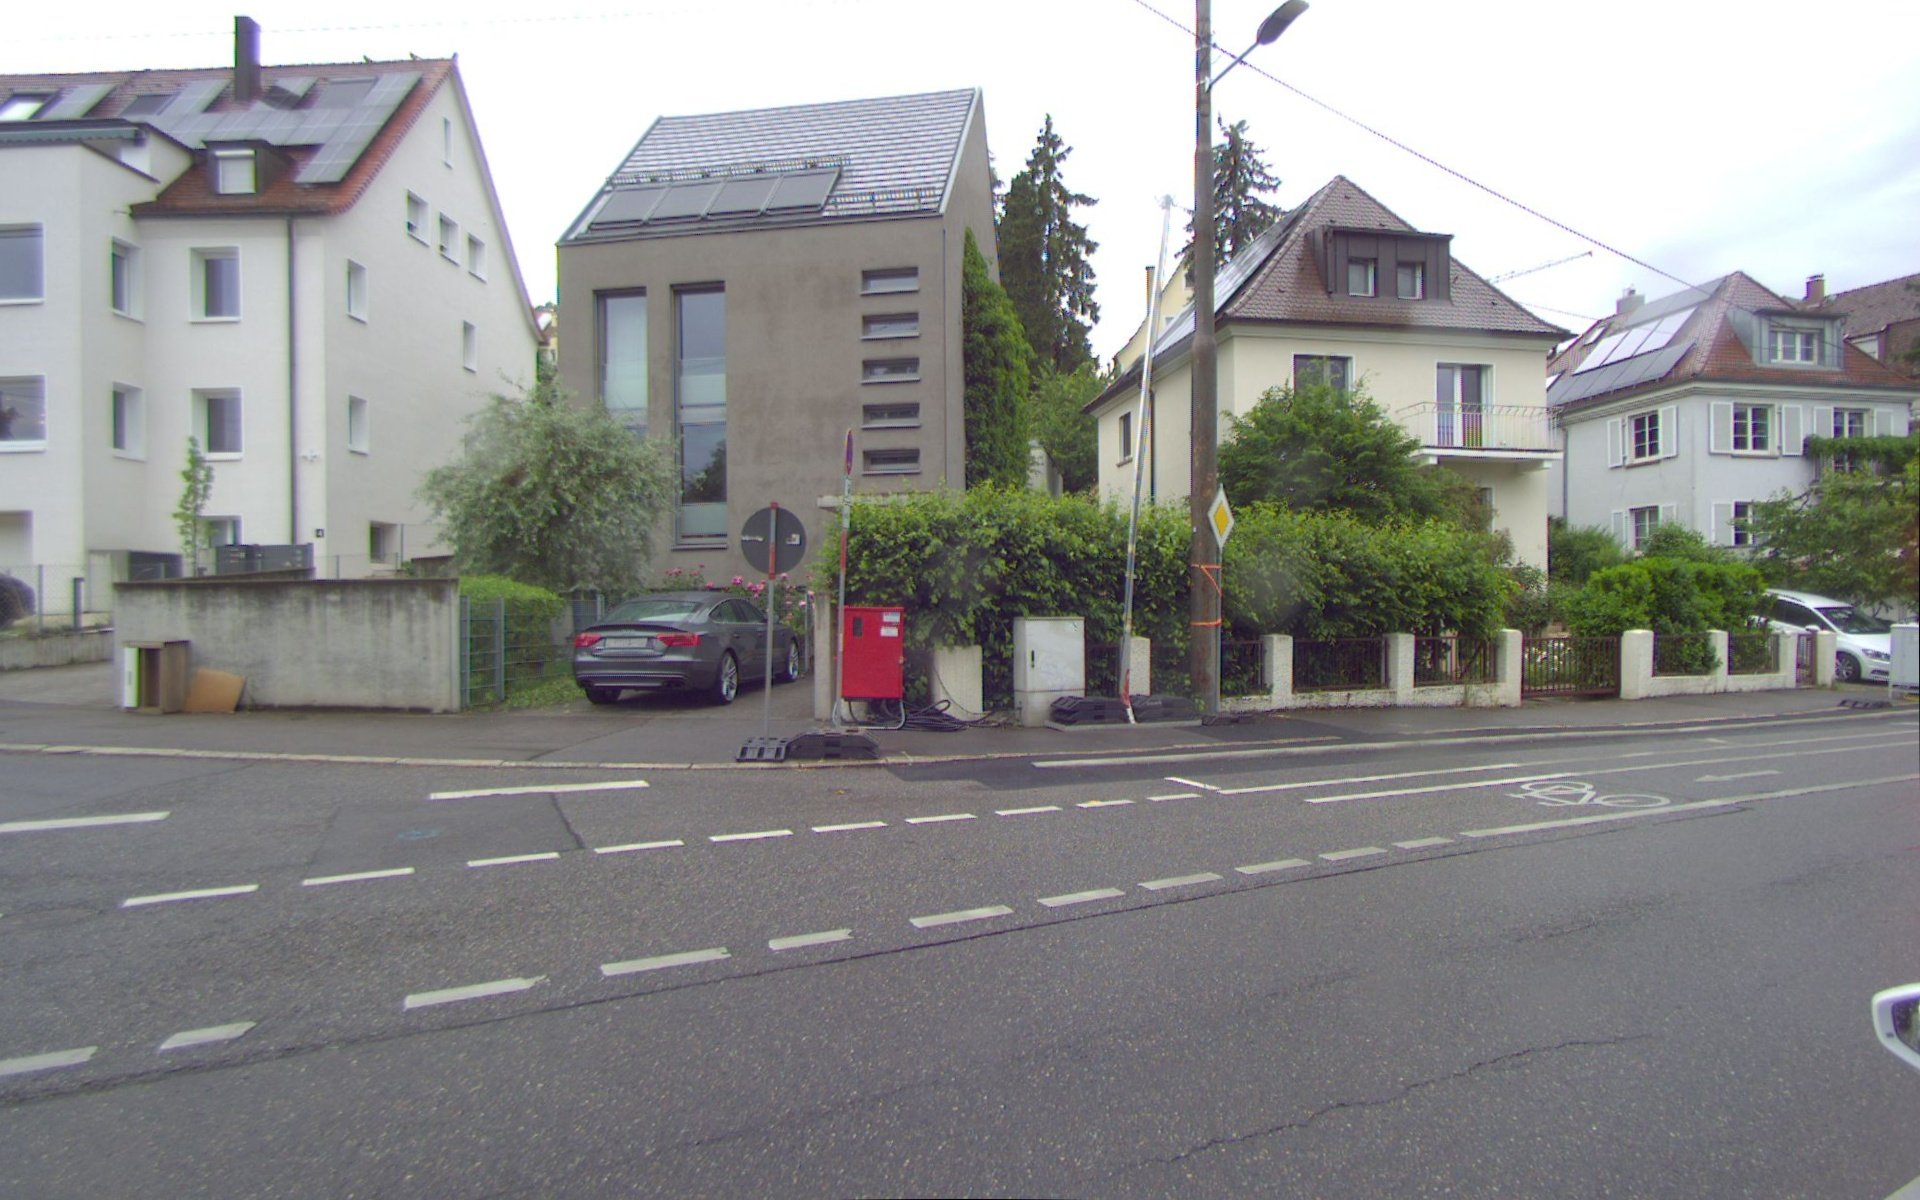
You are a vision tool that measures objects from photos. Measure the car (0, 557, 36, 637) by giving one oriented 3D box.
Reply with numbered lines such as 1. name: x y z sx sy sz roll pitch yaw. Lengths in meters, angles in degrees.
1. car: -16.743 0.040 15.177 1.576 1.298 4.008 2 4 6

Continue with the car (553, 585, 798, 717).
1. car: -3.620 0.557 13.584 1.740 1.506 4.002 0 1 7

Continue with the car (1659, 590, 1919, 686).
1. car: 19.584 0.814 23.920 1.870 2.033 4.628 1 0 -18
